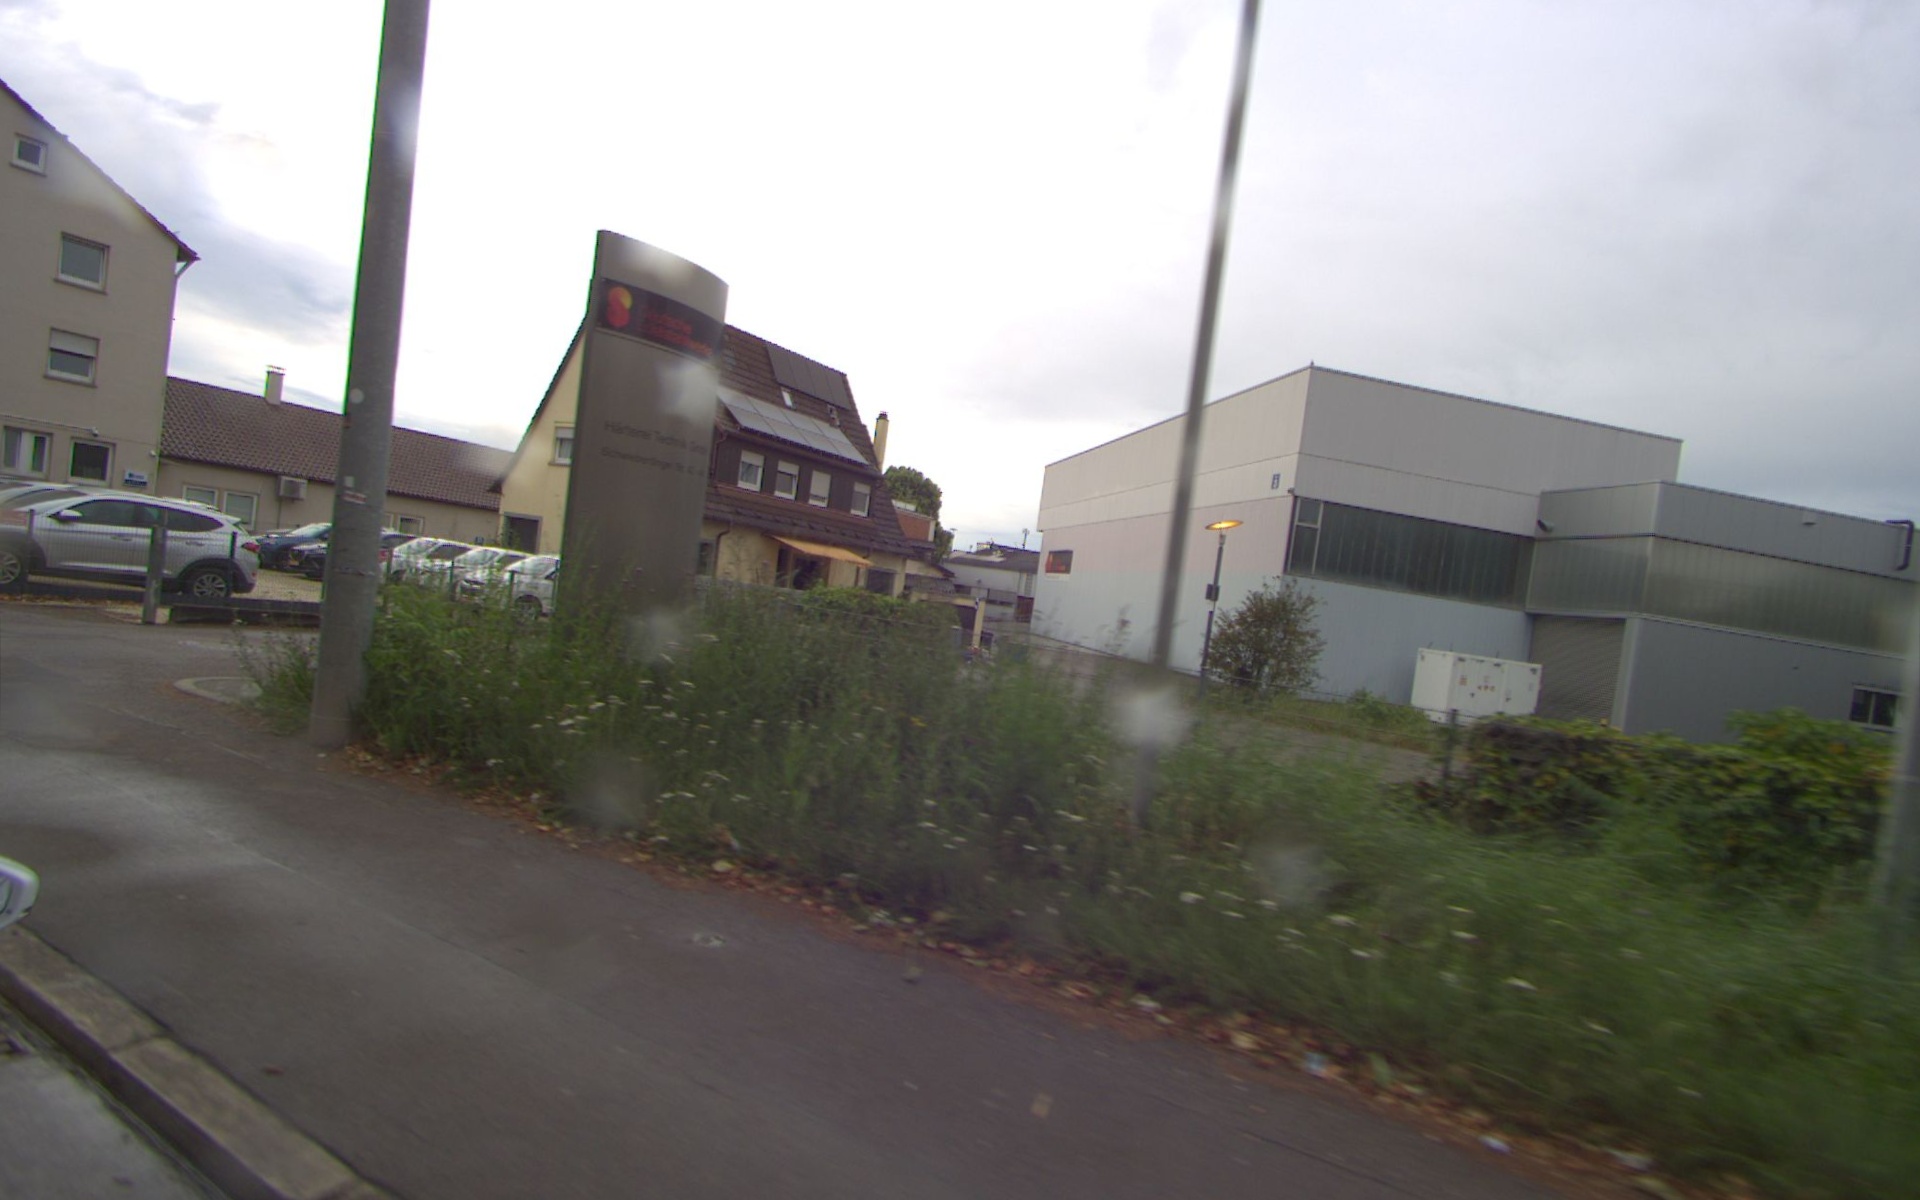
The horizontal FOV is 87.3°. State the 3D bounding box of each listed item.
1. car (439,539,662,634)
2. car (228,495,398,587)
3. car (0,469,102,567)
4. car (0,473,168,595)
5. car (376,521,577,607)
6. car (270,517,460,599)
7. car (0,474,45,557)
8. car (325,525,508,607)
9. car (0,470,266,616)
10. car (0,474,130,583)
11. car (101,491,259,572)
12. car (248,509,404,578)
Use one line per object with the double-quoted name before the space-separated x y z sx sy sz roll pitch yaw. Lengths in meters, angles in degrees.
"car" -9.421 -0.256 23.540 1.838 1.646 4.511 7 -1 31
"car" -18.543 -1.651 28.999 1.695 2.036 3.589 6 -2 29
"car" -20.409 -1.876 20.291 1.839 1.756 4.238 6 -3 31
"car" -16.233 -1.234 17.010 1.761 1.744 3.957 7 -2 31
"car" -11.935 -0.845 25.104 1.966 1.485 3.997 6 -3 30
"car" -16.420 -1.126 27.989 1.764 1.618 4.094 6 -3 29
"car" -22.799 -2.138 21.574 1.839 1.756 4.238 6 -3 31
"car" -14.134 -0.843 26.386 1.728 1.549 3.775 7 -2 27
"car" -13.942 -0.914 15.939 1.967 1.788 4.311 6 -2 31
"car" -18.192 -1.482 18.458 1.839 1.756 4.076 6 -3 31
"car" -19.431 -1.709 25.046 3.567 1.548 1.812 6 -2 31
"car" -20.761 -1.812 33.006 3.975 1.611 1.800 9 -3 -42
